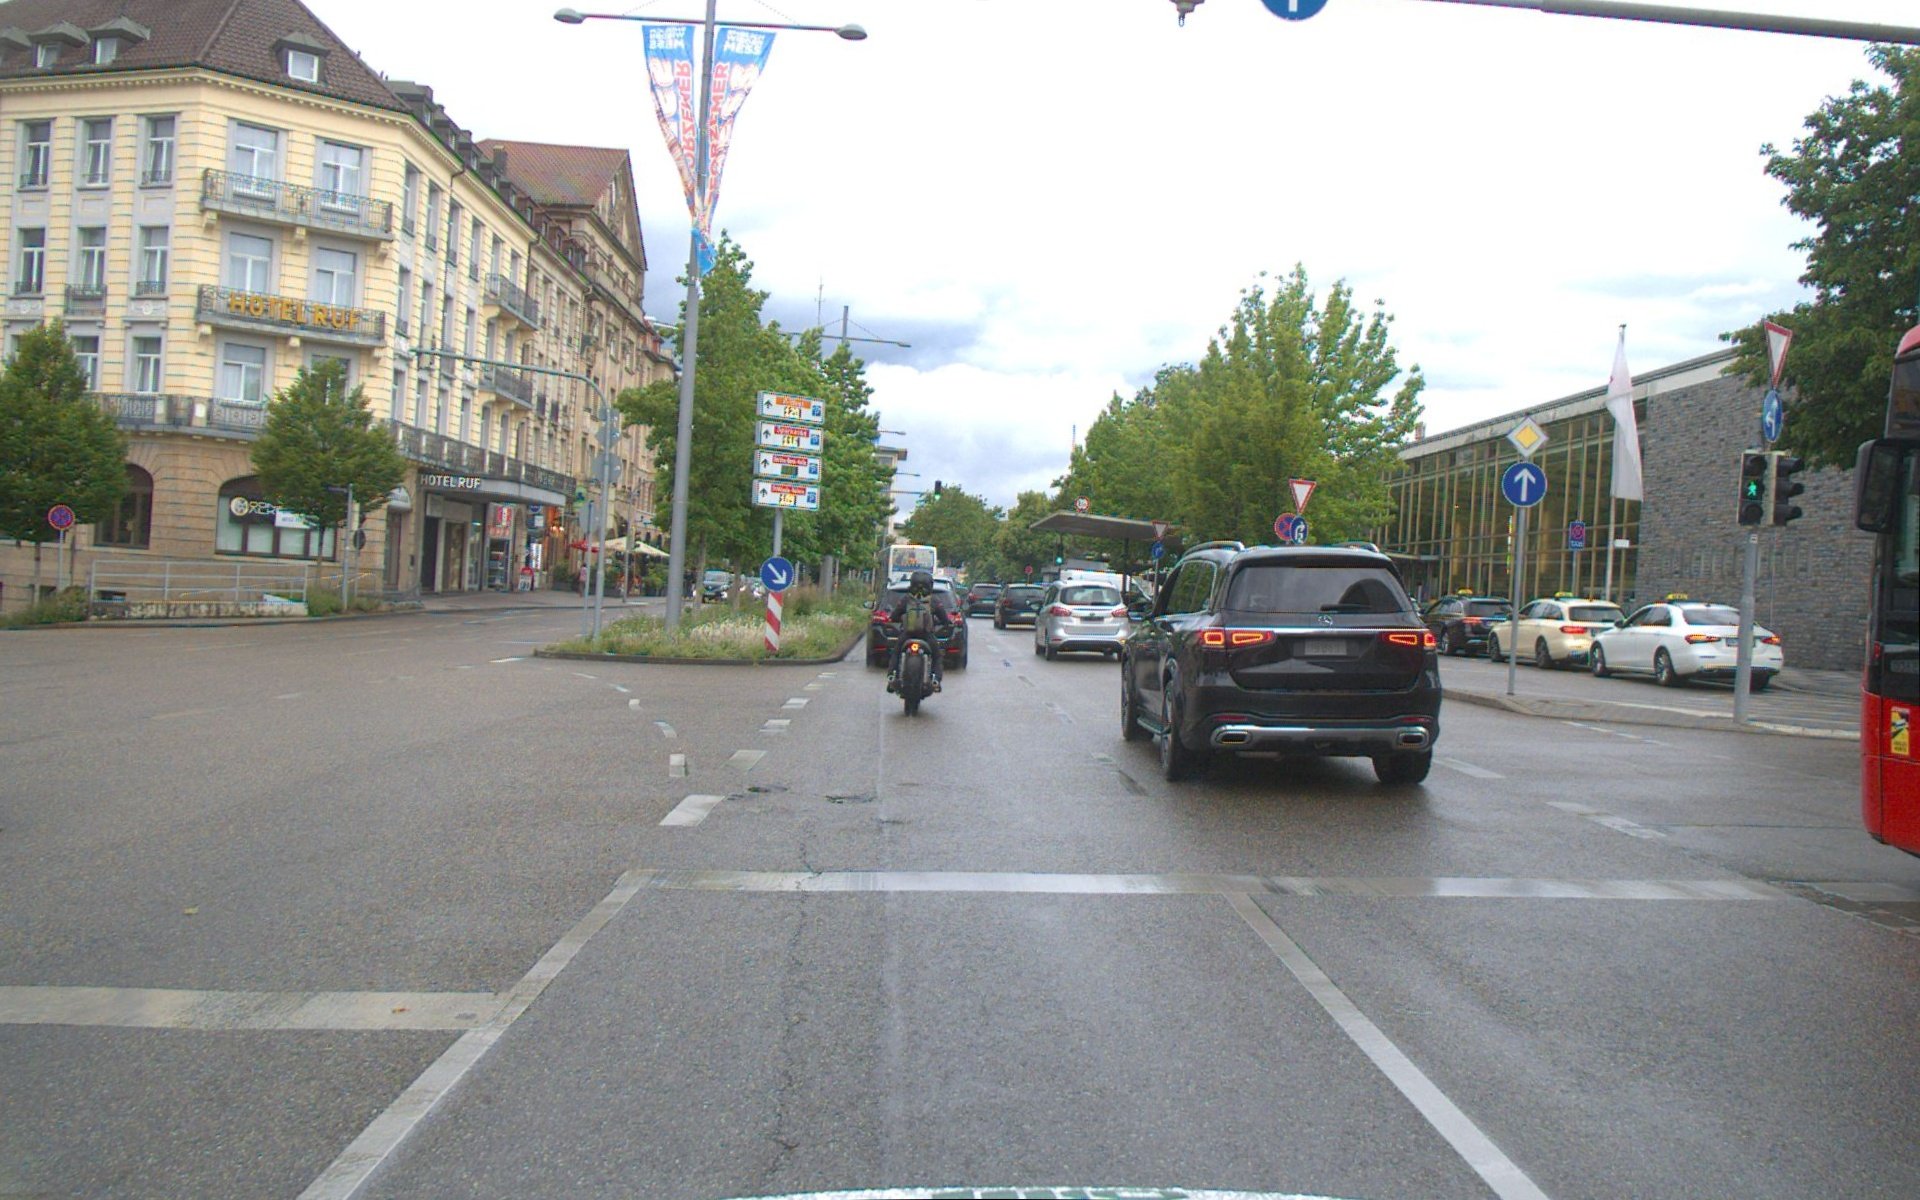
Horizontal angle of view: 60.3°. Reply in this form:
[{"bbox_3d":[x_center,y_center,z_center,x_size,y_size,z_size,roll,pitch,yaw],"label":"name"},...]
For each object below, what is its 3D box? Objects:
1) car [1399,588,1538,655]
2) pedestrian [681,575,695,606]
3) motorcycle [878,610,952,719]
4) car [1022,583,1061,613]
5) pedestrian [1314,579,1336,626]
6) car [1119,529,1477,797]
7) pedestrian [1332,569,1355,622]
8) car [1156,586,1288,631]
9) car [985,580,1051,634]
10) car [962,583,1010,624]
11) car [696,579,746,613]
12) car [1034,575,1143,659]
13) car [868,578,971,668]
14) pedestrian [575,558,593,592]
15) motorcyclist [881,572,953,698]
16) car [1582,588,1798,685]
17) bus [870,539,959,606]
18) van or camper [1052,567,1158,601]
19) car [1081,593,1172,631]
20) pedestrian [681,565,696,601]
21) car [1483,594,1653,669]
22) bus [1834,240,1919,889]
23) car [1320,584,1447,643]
[{"bbox_3d":[12.901,0.505,42.261,1.875,1.551,4.740,1,0,-3],"label":"car"},{"bbox_3d":[-15.757,-0.544,95.707,0.661,1.731,0.633,1,0,-1],"label":"pedestrian"},{"bbox_3d":[-0.488,0.688,18.554,0.750,1.095,2.175,2,0,-1],"label":"motorcycle"},{"bbox_3d":[4.397,-0.142,89.705,1.779,1.556,3.999,1,1,-1],"label":"car"},{"bbox_3d":[16.163,0.093,73.266,0.754,2.049,0.828,1,0,-3],"label":"pedestrian"},{"bbox_3d":[2.592,0.411,13.909,1.953,1.837,4.689,1,1,-1],"label":"car"},{"bbox_3d":[18.154,-0.206,78.304,0.825,2.453,0.862,1,0,1],"label":"pedestrian"},{"bbox_3d":[8.821,0.277,55.928,1.764,1.409,4.303,1,1,-41],"label":"car"},{"bbox_3d":[1.834,0.202,53.124,1.774,1.609,3.902,2,0,-3],"label":"car"},{"bbox_3d":[1.082,0.135,71.030,1.774,1.671,3.902,2,0,-3],"label":"car"},{"bbox_3d":[-11.738,-0.166,81.427,1.735,1.557,4.079,3,0,1],"label":"car"},{"bbox_3d":[2.566,0.302,33.860,1.813,1.594,3.999,1,1,-1],"label":"car"},{"bbox_3d":[-0.708,0.360,29.388,1.673,1.473,3.999,1,1,-1],"label":"car"},{"bbox_3d":[-17.112,-1.149,75.284,0.656,1.537,0.512,1,0,-39],"label":"pedestrian"},{"bbox_3d":[-0.474,0.380,18.432,0.749,1.354,0.866,1,0,-1],"label":"motorcyclist"},{"bbox_3d":[13.240,0.602,30.325,1.739,1.617,4.614,1,0,-2],"label":"car"},{"bbox_3d":[-2.663,-1.431,89.957,3.688,3.265,15.507,1,1,-6],"label":"bus"},{"bbox_3d":[9.408,-1.039,107.358,6.675,2.049,2.364,1,0,-28],"label":"van or camper"},{"bbox_3d":[8.726,0.621,86.653,4.274,1.889,1.988,1,0,-21],"label":"car"},{"bbox_3d":[-15.708,-0.990,95.752,0.742,2.049,0.832,1,0,-7],"label":"pedestrian"},{"bbox_3d":[13.104,0.633,35.979,1.809,1.477,4.665,1,0,-2],"label":"car"},{"bbox_3d":[6.189,-0.118,3.883,2.687,3.229,10.193,1,0,-1],"label":"bus"},{"bbox_3d":[12.391,0.360,48.737,1.956,1.628,4.815,1,0,-8],"label":"car"}]
